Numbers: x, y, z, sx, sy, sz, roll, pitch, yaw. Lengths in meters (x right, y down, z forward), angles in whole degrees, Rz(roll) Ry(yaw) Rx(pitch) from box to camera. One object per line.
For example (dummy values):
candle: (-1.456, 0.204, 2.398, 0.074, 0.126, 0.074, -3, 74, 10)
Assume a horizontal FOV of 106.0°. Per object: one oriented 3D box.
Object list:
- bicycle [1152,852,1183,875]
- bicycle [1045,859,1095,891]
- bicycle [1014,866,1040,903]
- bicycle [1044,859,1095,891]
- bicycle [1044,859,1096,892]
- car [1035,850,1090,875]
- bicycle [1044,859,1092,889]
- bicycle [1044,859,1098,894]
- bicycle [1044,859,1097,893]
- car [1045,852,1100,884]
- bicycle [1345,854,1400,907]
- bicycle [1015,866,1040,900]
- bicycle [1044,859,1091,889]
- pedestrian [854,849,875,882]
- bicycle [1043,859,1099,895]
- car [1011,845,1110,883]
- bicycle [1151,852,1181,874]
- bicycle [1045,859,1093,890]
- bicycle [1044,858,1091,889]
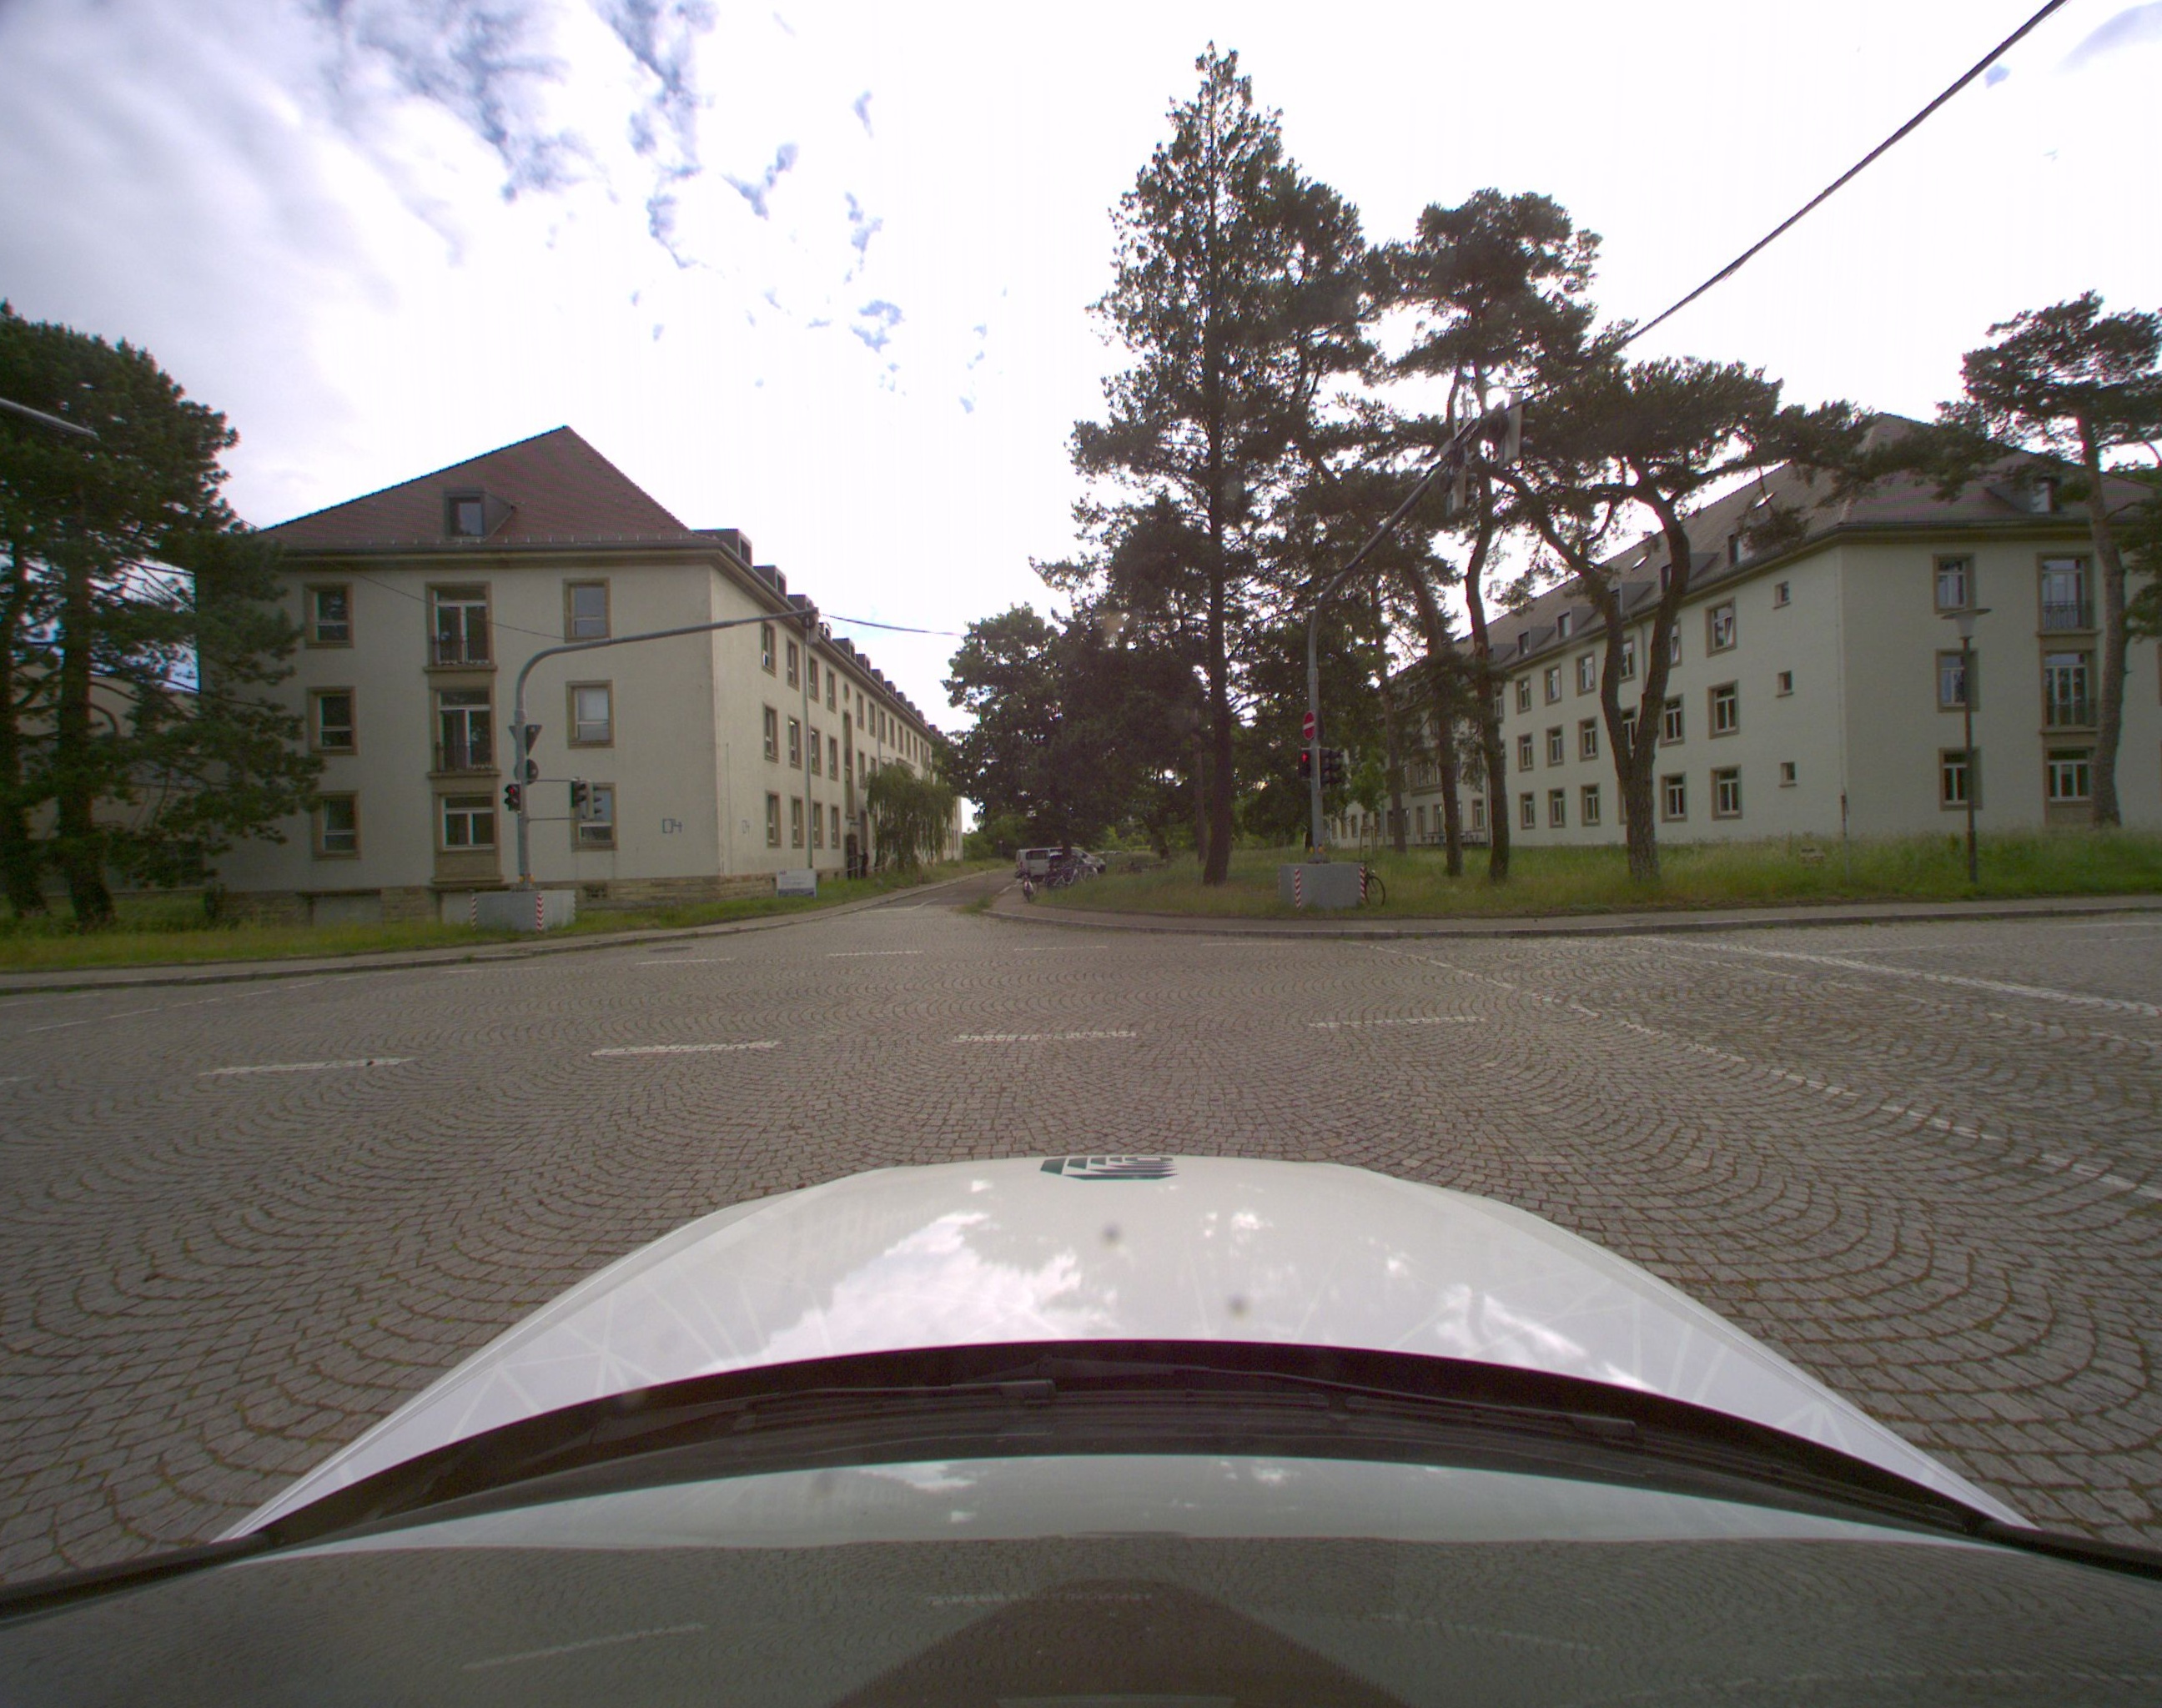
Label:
bicycle: (4.558, 0.502, 43.028, 1.544, 1.124, 0.401, -2, 0, 0)
bicycle: (-0.459, 0.834, 32.880, 1.978, 1.248, 0.623, -1, -1, -4)
bicycle: (-1.689, 0.950, 25.892, 0.620, 1.113, 1.990, -1, 0, 2)
bicycle: (-0.458, 0.831, 32.354, 1.978, 1.248, 0.623, -1, -1, -4)
bicycle: (-0.445, 0.828, 31.722, 1.978, 1.248, 0.623, -1, -1, -4)
car: (-1.368, 0.623, 61.266, 4.022, 1.718, 1.679, -2, 0, -3)
bicycle: (-0.548, 0.843, 34.468, 1.978, 1.248, 0.623, -1, -1, -4)
bicycle: (-0.374, 0.818, 29.938, 1.978, 1.248, 0.623, -1, -1, -4)
bicycle: (-0.417, 0.823, 30.863, 1.978, 1.248, 0.623, -1, -1, -4)
car: (-0.484, 0.727, 43.930, 2.840, 1.557, 1.471, -3, 1, -2)
bicycle: (6.091, 0.535, 17.094, 0.578, 0.970, 1.679, -4, 2, 3)
bicycle: (-1.816, 0.977, 27.842, 0.620, 1.082, 1.679, -1, 0, 3)
bicycle: (-0.580, 0.846, 34.961, 1.978, 1.248, 0.623, -1, -1, -4)
pedestrian: (-11.928, 0.622, 44.859, 0.833, 1.781, 0.942, -2, 0, 4)
bicycle: (-0.354, 0.814, 29.310, 1.978, 1.248, 0.623, -1, -1, -4)
car: (-1.198, 0.577, 47.384, 5.316, 1.916, 2.138, -3, 0, -16)
bicycle: (4.597, 0.505, 44.261, 1.544, 1.124, 0.401, -2, 0, 0)
bicycle: (-0.510, 0.840, 33.956, 1.978, 1.248, 0.623, -1, -1, -4)
bicycle: (-0.602, 0.850, 35.620, 1.978, 1.247, 0.623, -4, 0, -4)
